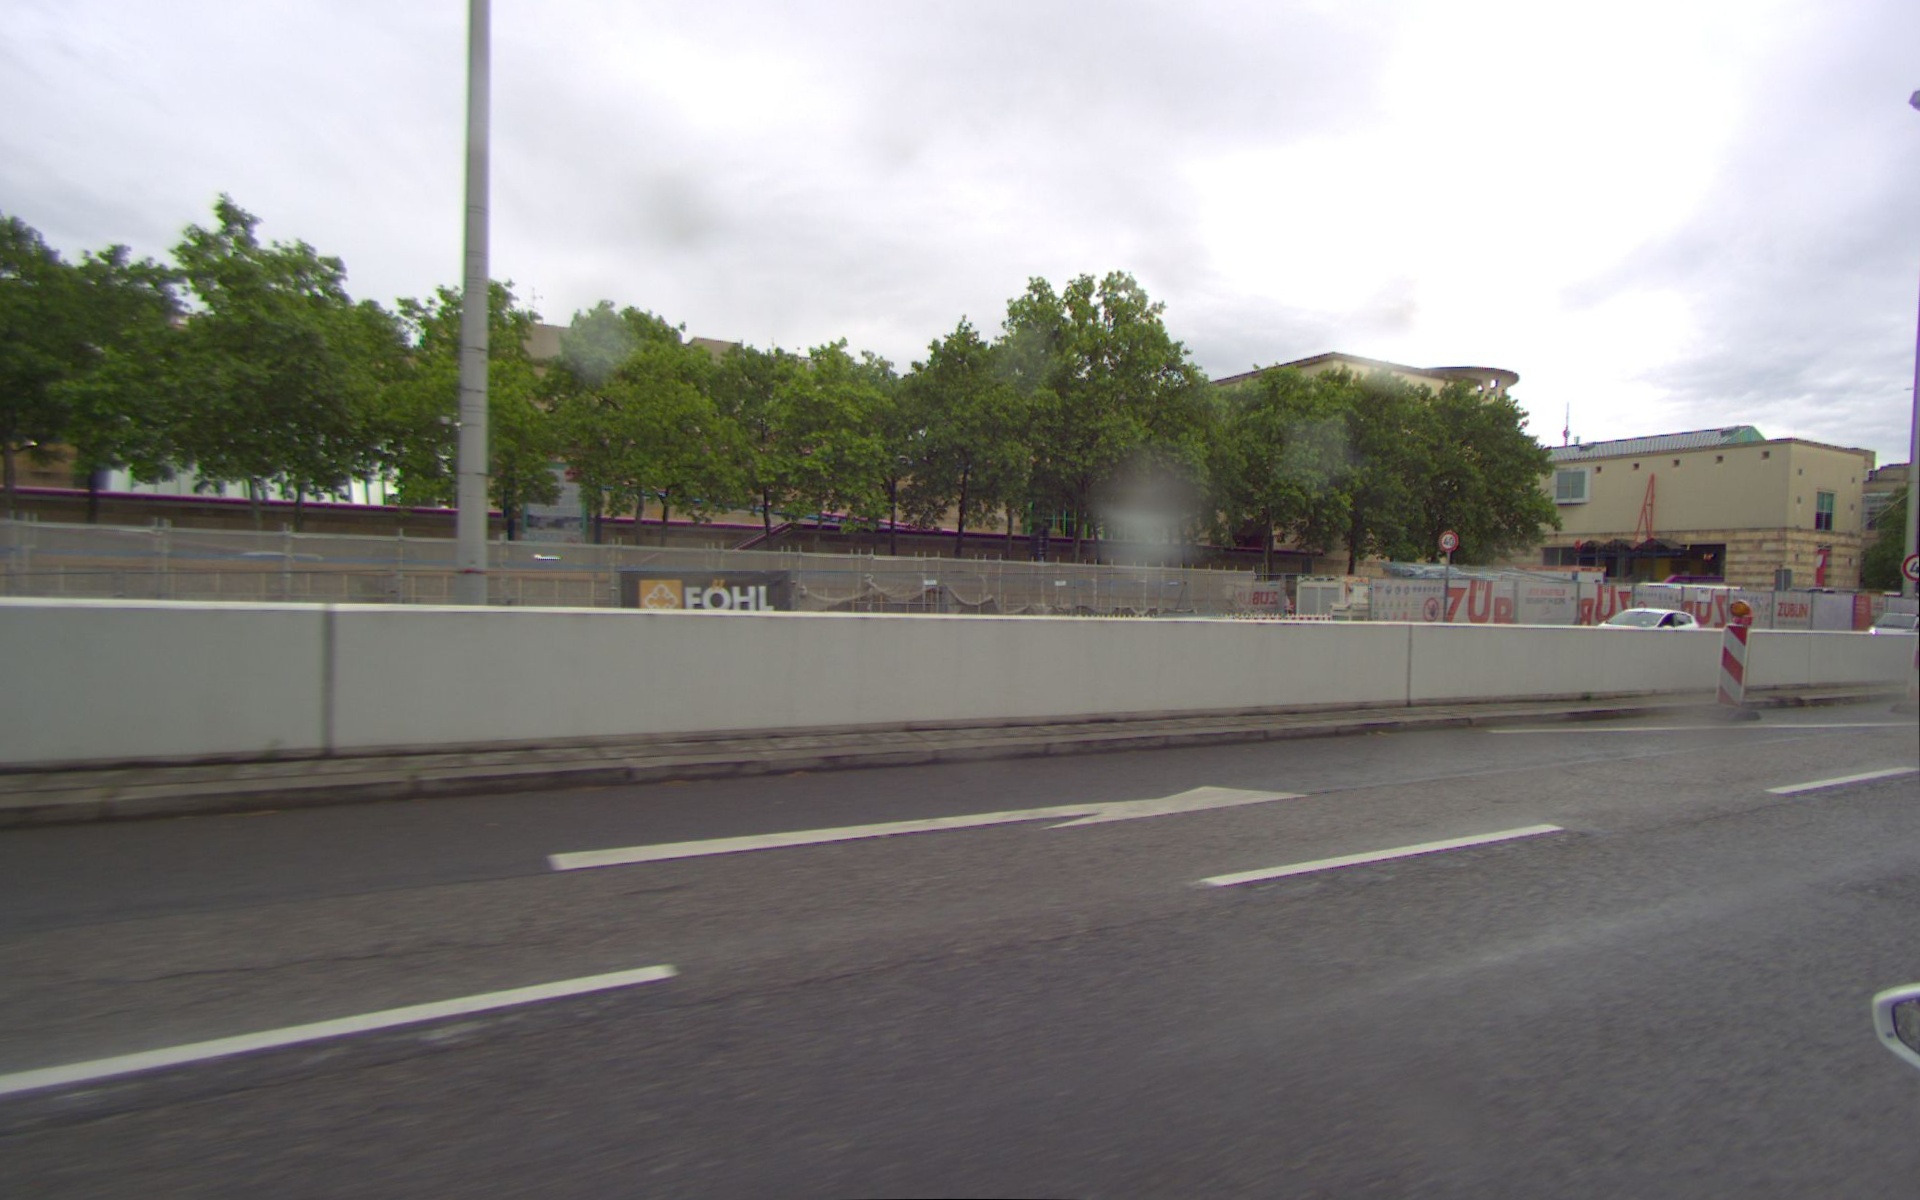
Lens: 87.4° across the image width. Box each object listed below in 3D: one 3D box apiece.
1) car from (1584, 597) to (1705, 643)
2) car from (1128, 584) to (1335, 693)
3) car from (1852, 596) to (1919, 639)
[{"bbox_3d":[20.186,0.591,29.601,3.365,1.212,1.618,1,3,-30],"label":"car"},{"bbox_3d":[5.791,0.765,21.360,3.953,2.041,1.983,1,3,-30],"label":"car"},{"bbox_3d":[37.635,0.726,40.257,3.954,1.542,1.659,2,3,-31],"label":"car"}]
